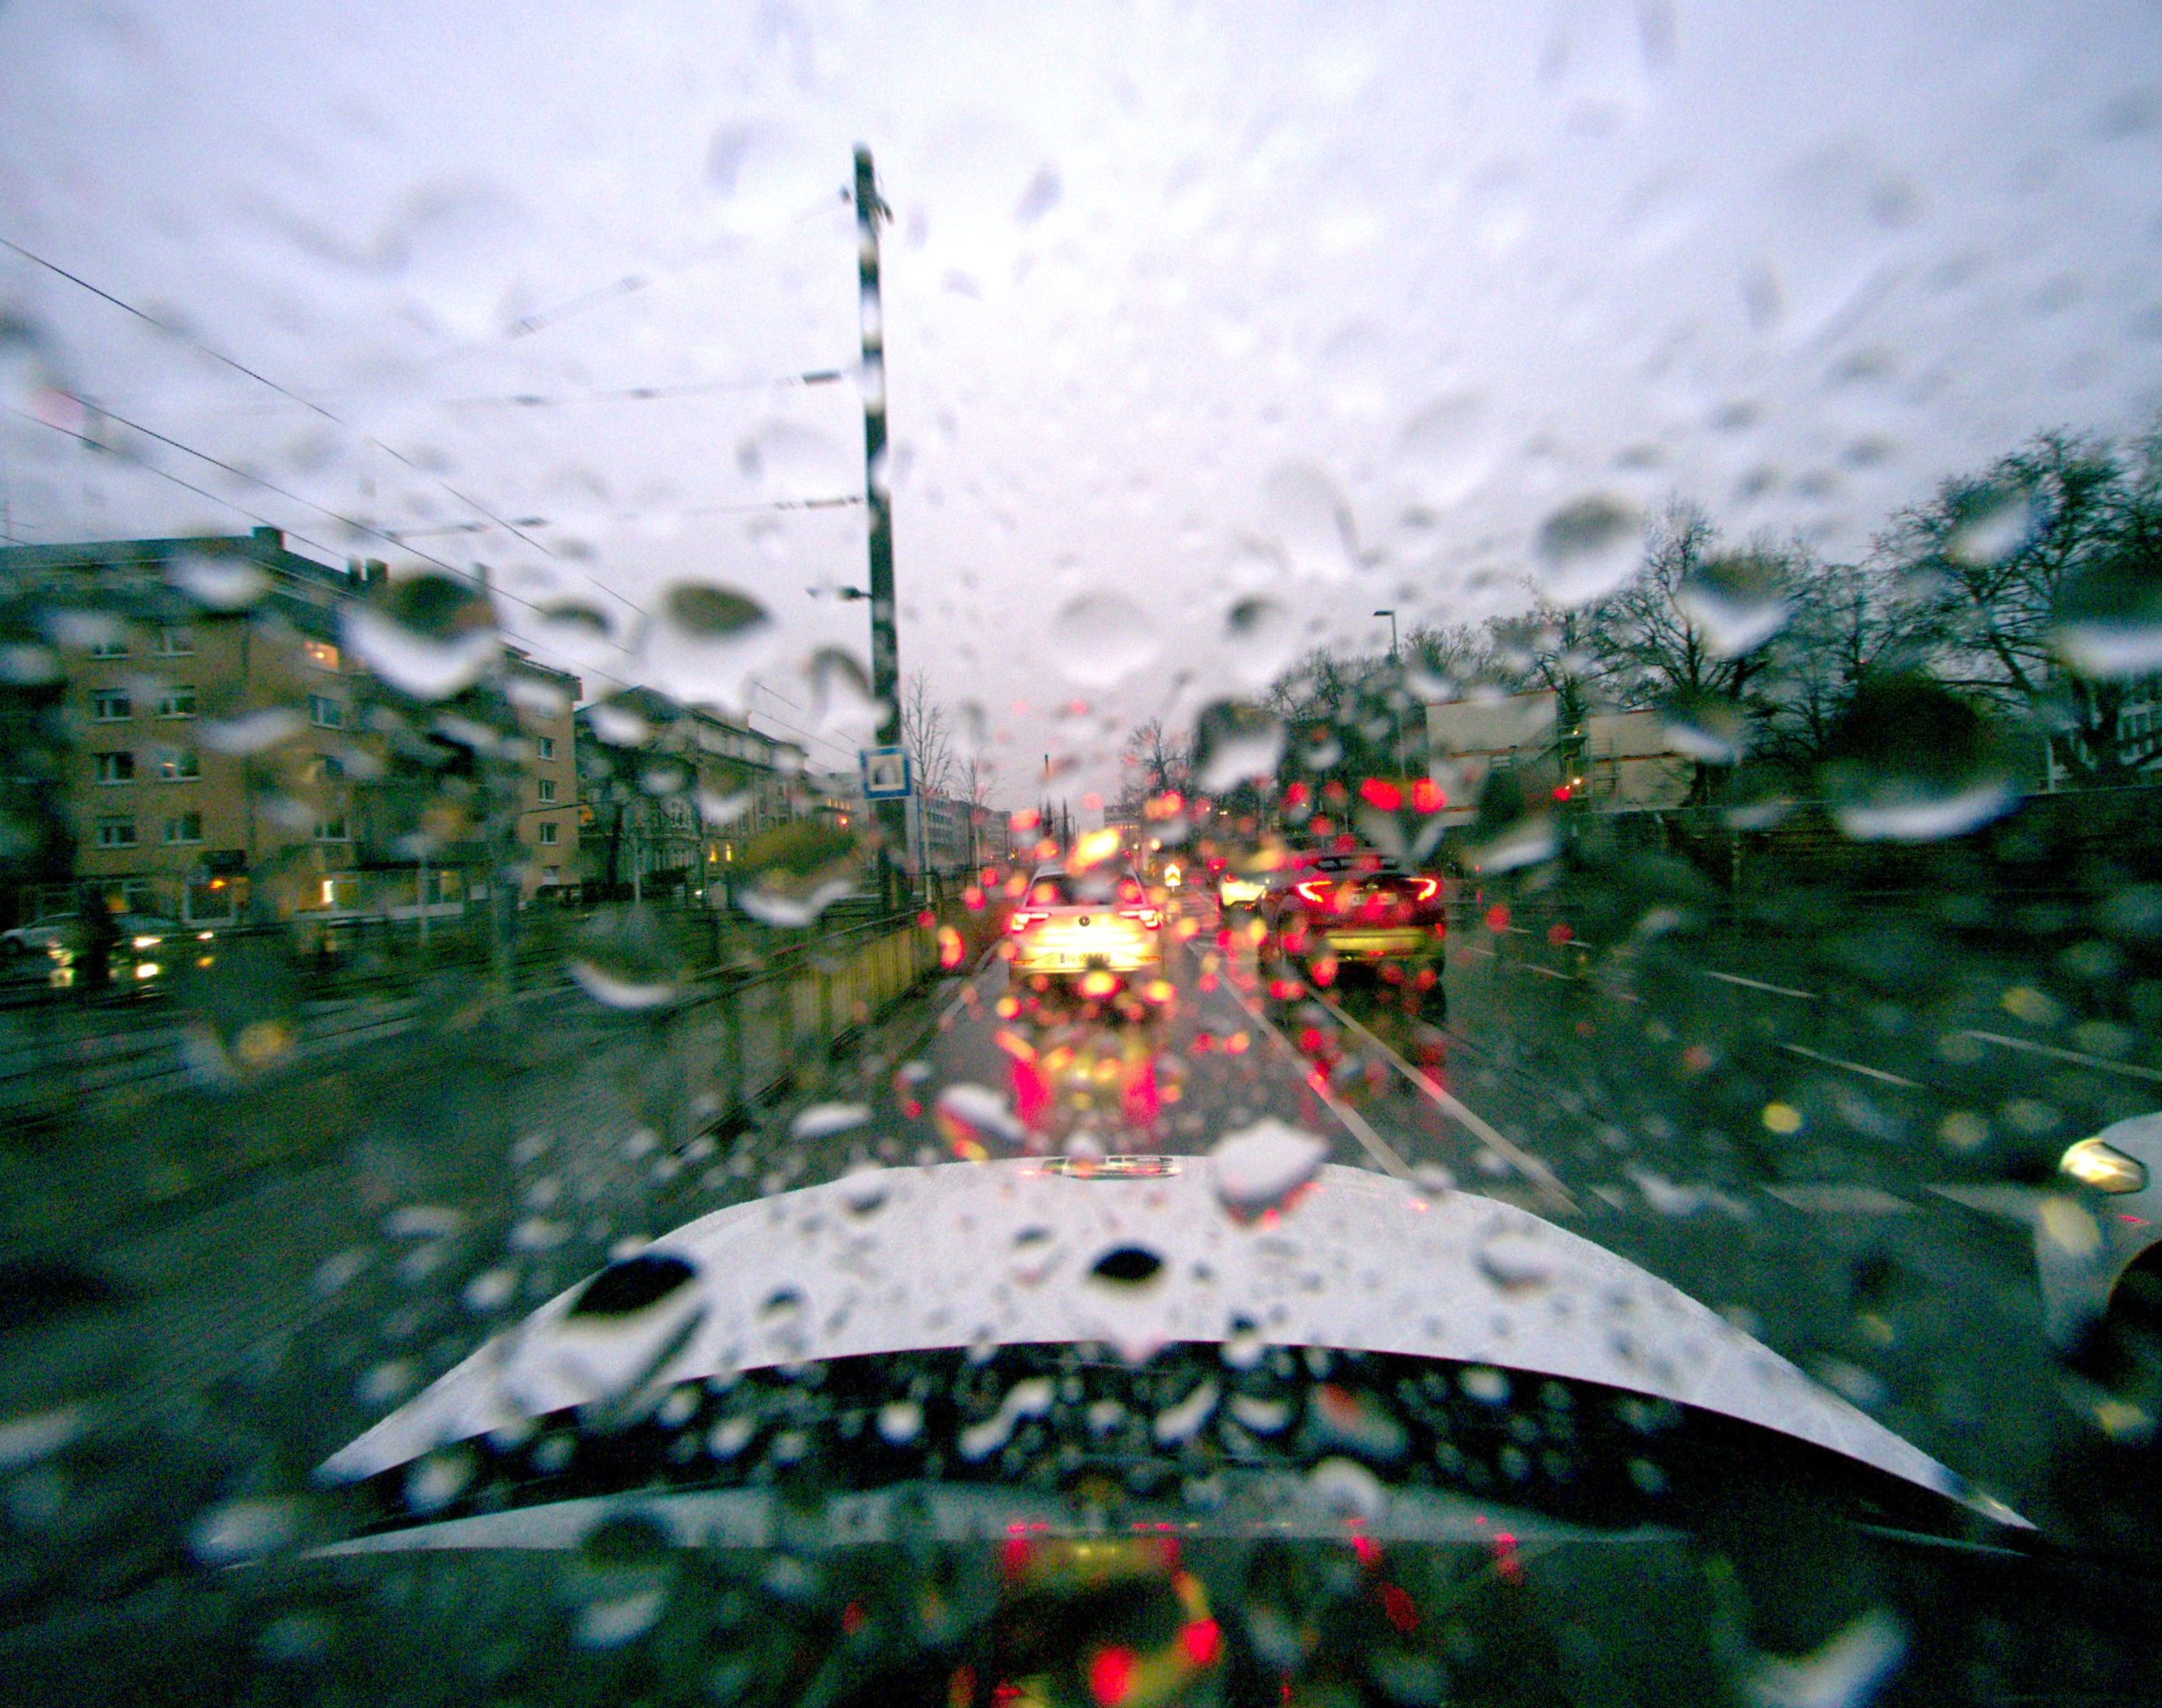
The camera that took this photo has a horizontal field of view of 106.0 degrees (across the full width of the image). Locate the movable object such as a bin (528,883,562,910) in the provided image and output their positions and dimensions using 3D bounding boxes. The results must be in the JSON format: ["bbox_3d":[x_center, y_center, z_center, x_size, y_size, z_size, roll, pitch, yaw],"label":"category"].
[{"bbox_3d":[-33.451,2.643,50.819,1.105,1.561,1.424,-3,0,-2],"label":"movable object such as a bin"}]

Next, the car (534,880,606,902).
[{"bbox_3d":[-36.932,2.679,58.908,3.975,1.407,1.832,-2,-2,-1],"label":"car"}]

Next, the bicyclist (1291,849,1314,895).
[{"bbox_3d":[7.829,0.629,28.774,0.498,1.591,0.837,-3,0,-1],"label":"bicyclist"}]

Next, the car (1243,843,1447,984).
[{"bbox_3d":[3.184,0.661,10.619,1.714,1.479,4.006,-1,-1,6],"label":"car"}]

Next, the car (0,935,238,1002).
[{"bbox_3d":[-29.225,3.432,24.810,4.681,1.545,1.996,-2,0,-6],"label":"car"}]

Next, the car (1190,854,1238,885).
[{"bbox_3d":[5.920,0.700,36.588,1.617,1.299,4.002,-1,-1,2],"label":"car"}]

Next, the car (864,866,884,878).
[{"bbox_3d":[-29.676,2.592,116.897,1.801,1.436,3.925,-3,0,-1],"label":"car"}]

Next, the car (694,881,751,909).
[{"bbox_3d":[-22.754,2.594,51.810,1.795,1.585,4.000,-1,-1,1],"label":"car"}]

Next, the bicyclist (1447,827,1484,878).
[{"bbox_3d":[13.185,-0.041,27.933,0.697,1.679,0.812,-2,-1,-19],"label":"bicyclist"}]

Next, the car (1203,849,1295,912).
[{"bbox_3d":[4.294,0.666,21.390,1.715,1.479,4.002,-1,-1,2],"label":"car"}]

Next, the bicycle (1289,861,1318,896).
[{"bbox_3d":[7.839,0.845,28.781,0.410,1.185,1.947,-3,0,-1],"label":"bicycle"}]

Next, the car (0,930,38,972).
[{"bbox_3d":[-44.428,3.951,32.276,3.814,1.552,1.758,-3,0,-1],"label":"car"}]

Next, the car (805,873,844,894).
[{"bbox_3d":[-20.433,2.320,65.123,1.795,1.585,4.000,-1,-1,1],"label":"car"}]

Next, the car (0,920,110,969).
[{"bbox_3d":[-39.698,3.434,30.759,3.814,1.552,1.777,-3,0,-1],"label":"car"}]

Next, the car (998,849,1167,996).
[{"bbox_3d":[0.100,0.729,10.326,1.715,1.479,4.002,-1,-1,2],"label":"car"}]

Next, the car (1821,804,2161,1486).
[{"bbox_3d":[3.171,0.604,0.115,1.779,1.501,4.971,-1,-1,3],"label":"car"}]

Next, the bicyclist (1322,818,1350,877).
[{"bbox_3d":[7.777,-0.195,24.876,0.498,1.767,0.837,-3,0,-1],"label":"bicyclist"}]

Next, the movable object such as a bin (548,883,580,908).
[{"bbox_3d":[-33.354,2.672,52.592,1.105,1.480,1.424,-3,0,-2],"label":"movable object such as a bin"}]

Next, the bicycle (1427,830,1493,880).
[{"bbox_3d":[13.095,0.044,28.226,0.690,1.657,2.232,0,-1,-19],"label":"bicycle"}]

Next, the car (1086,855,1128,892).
[{"bbox_3d":[1.139,0.809,35.215,1.715,1.479,4.002,-1,-1,2],"label":"car"}]
